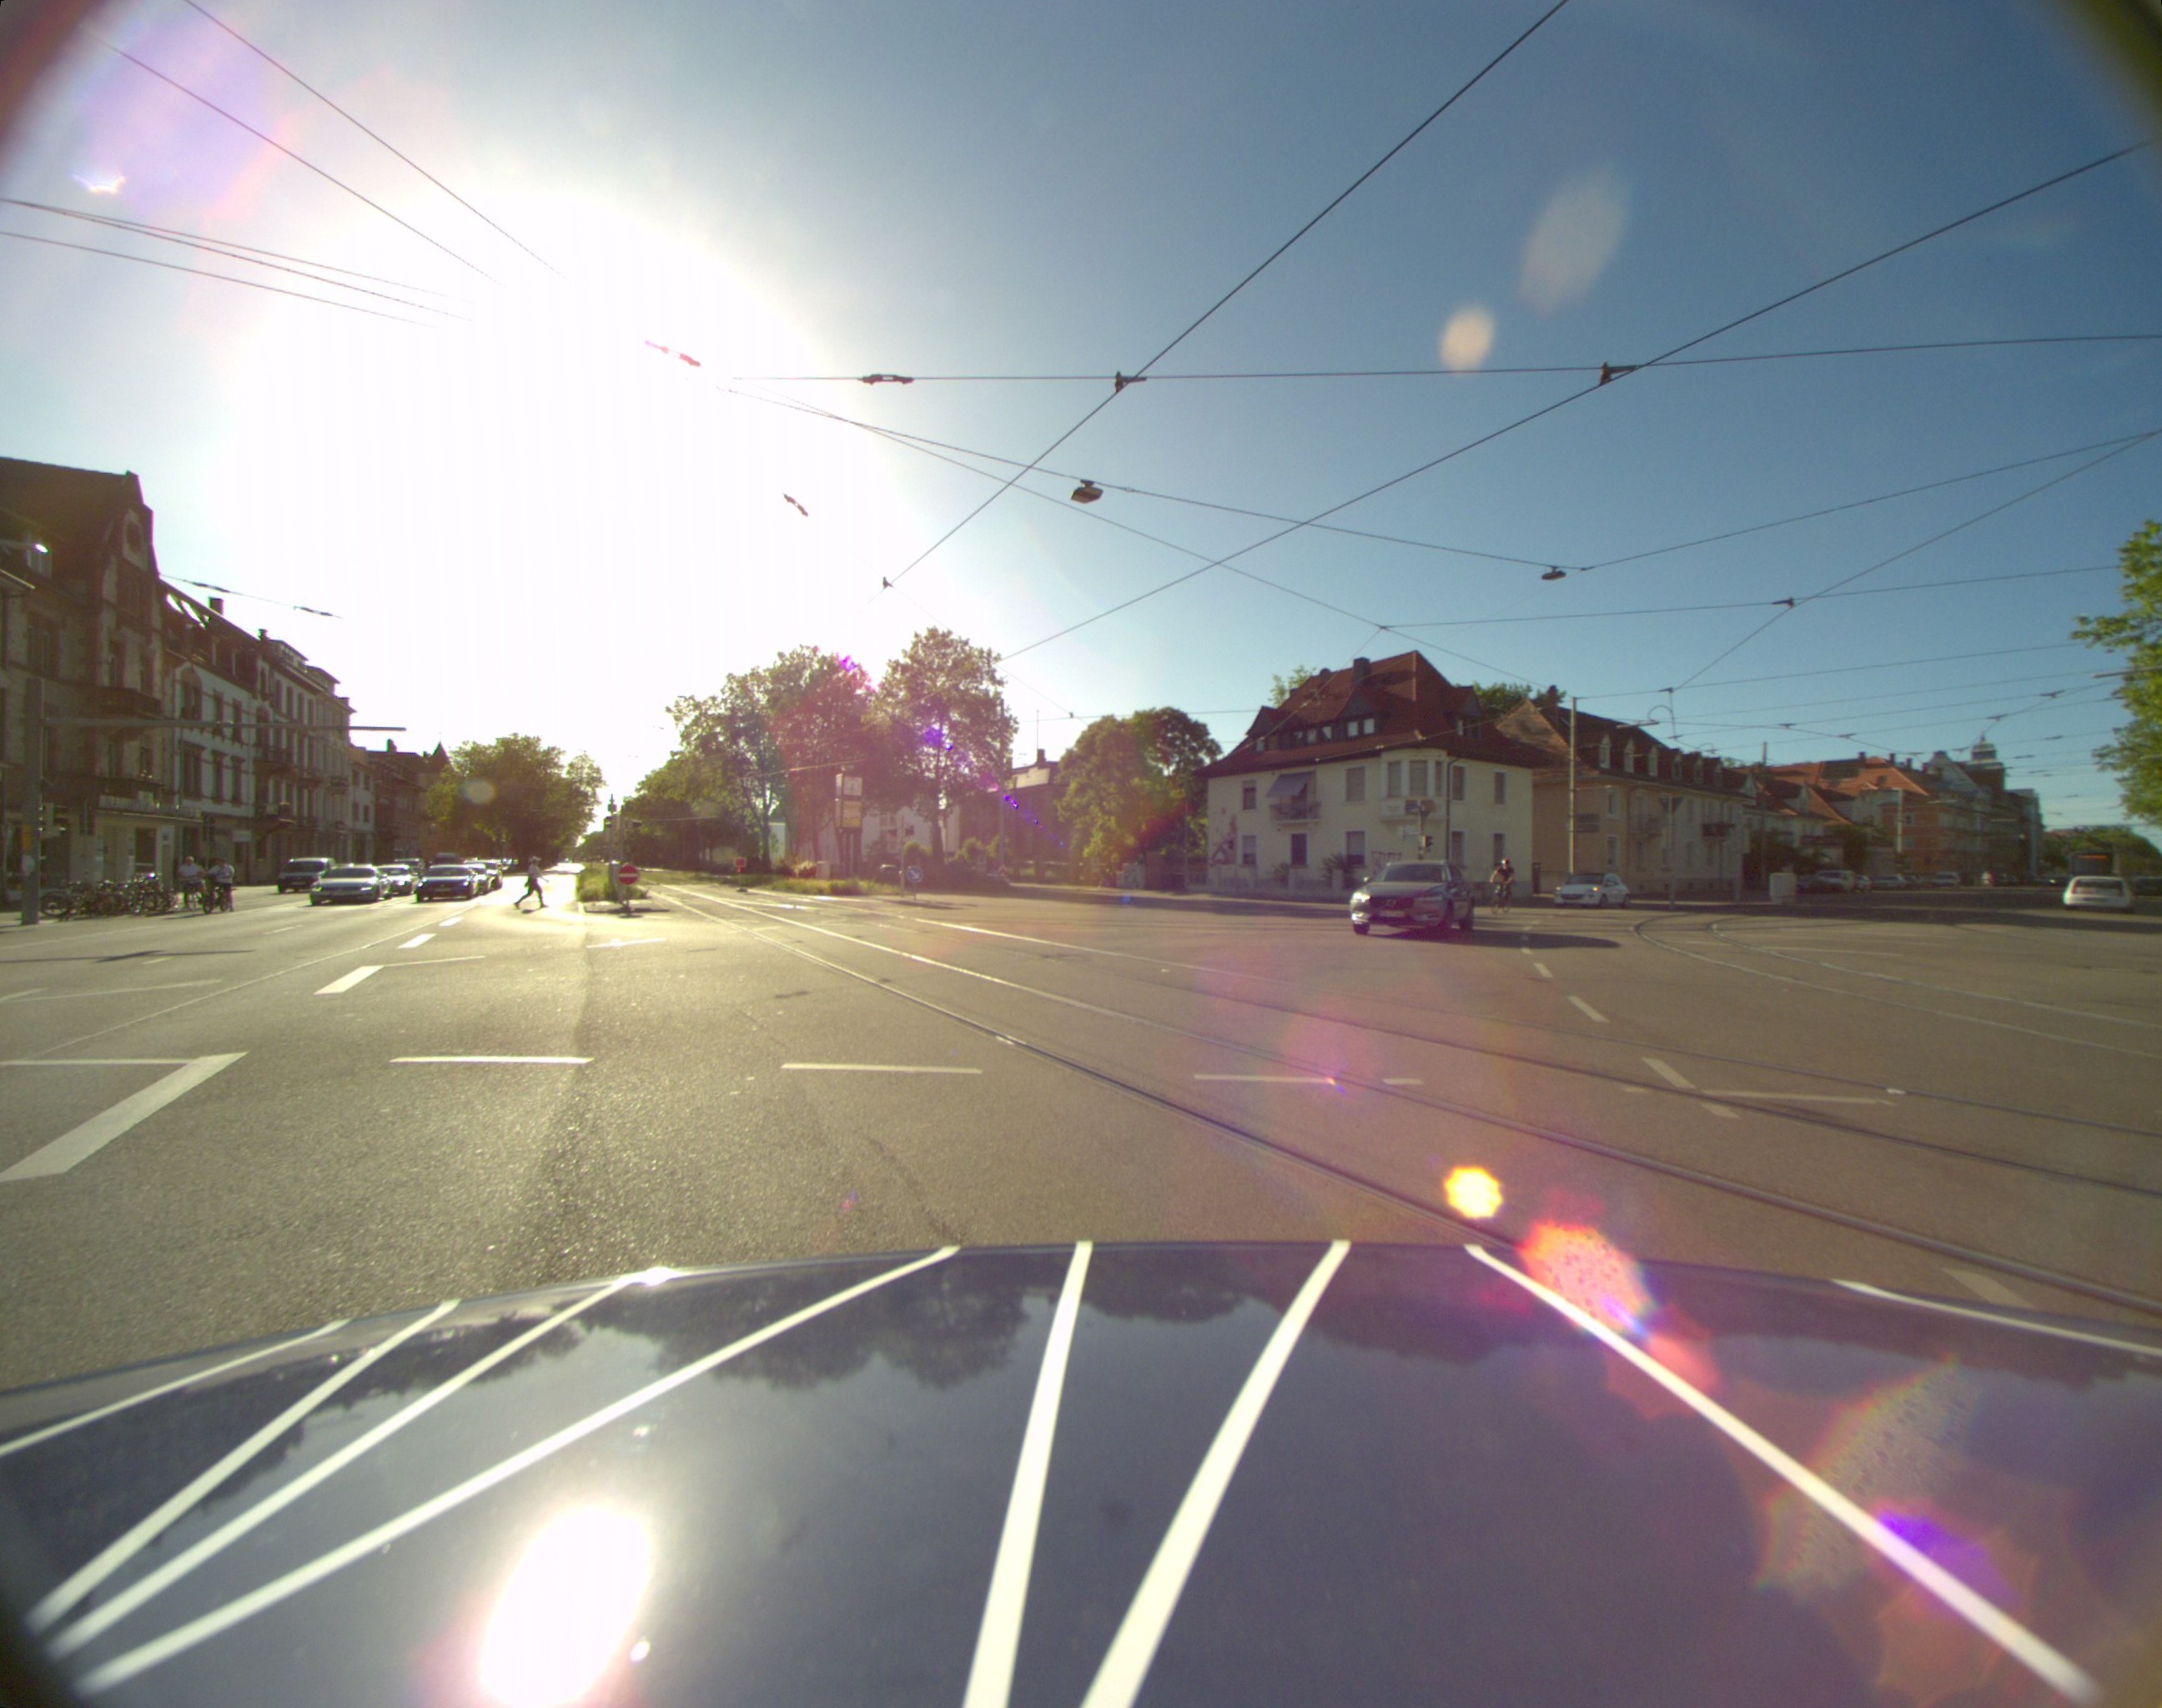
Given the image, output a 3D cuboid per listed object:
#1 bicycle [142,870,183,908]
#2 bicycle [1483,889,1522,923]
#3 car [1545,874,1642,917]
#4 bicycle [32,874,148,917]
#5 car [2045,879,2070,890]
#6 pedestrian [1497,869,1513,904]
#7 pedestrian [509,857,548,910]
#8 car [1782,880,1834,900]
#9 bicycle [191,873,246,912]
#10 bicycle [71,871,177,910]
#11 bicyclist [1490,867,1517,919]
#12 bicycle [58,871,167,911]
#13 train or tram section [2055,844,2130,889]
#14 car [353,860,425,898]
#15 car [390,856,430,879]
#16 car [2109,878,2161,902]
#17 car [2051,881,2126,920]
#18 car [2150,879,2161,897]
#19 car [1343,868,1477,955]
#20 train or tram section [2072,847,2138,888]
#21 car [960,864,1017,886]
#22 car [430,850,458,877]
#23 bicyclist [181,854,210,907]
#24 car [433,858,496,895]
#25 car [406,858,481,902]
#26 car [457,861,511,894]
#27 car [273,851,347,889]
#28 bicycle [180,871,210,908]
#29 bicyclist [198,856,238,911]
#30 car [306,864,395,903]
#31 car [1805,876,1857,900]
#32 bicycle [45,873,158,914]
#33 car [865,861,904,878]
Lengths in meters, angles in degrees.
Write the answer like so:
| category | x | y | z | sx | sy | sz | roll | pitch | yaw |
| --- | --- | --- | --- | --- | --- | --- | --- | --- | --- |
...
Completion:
| category | x | y | z | sx | sy | sz | roll | pitch | yaw |
| --- | --- | --- | --- | --- | --- | --- | --- | --- | --- |
| bicycle | -30.655 | 1.137 | 25.373 | 0.681 | 1.184 | 1.961 | 1 | 0 | -45 |
| bicycle | 14.170 | 1.718 | 25.494 | 1.994 | 1.050 | 0.599 | 1 | 0 | -45 |
| car | 21.273 | 1.657 | 31.485 | 4.512 | 1.621 | 1.914 | 1 | 0 | -37 |
| bicycle | -29.179 | 1.203 | 22.421 | 1.971 | 1.184 | 0.677 | 1 | 0 | -32 |
| car | 130.634 | 4.080 | 101.668 | 4.008 | 1.477 | 1.878 | 1 | 0 | -35 |
| pedestrian | 21.783 | 1.658 | 39.033 | 0.601 | 1.750 | 0.488 | 1 | 0 | 39 |
| pedestrian | -17.904 | 0.948 | 24.626 | 0.941 | 1.659 | 0.716 | 1 | 0 | -40 |
| car | 56.839 | 2.767 | 59.424 | 4.007 | 1.477 | 1.879 | 1 | 0 | -30 |
| bicycle | -27.993 | 1.222 | 24.690 | 0.602 | 1.183 | 1.962 | 1 | 0 | -31 |
| bicycle | -30.307 | 1.147 | 24.111 | 1.971 | 1.184 | 0.677 | 1 | 0 | -32 |
| bicyclist | 14.163 | 1.298 | 25.488 | 0.664 | 1.709 | 0.599 | 1 | 0 | -45 |
| bicycle | -29.943 | 1.135 | 23.541 | 1.971 | 1.184 | 0.677 | 1 | 0 | -32 |
| train or tram section | 85.995 | 1.082 | 64.509 | 12.137 | 3.591 | 3.057 | 1 | 0 | -33 |
| car | -32.551 | 1.149 | 35.866 | 1.959 | 1.658 | 3.989 | 1 | 0 | -34 |
| car | -58.514 | 1.146 | 66.321 | 1.959 | 1.851 | 4.790 | 1 | 0 | -34 |
| car | 69.384 | 2.344 | 49.910 | 4.007 | 1.477 | 1.879 | 1 | 0 | -32 |
| car | 42.201 | 1.911 | 31.894 | 3.591 | 1.488 | 1.718 | 1 | 0 | -39 |
| car | 90.465 | 2.851 | 63.010 | 4.007 | 1.477 | 1.879 | 1 | 0 | -32 |
| car | 7.490 | 1.157 | 17.027 | 1.913 | 1.621 | 4.512 | 1 | 0 | 34 |
| train or tram section | 96.245 | 1.243 | 71.327 | 12.526 | 3.591 | 3.057 | 1 | 0 | -34 |
| car | -6.438 | 1.424 | 52.531 | 1.923 | 1.445 | 4.490 | 1 | 0 | -36 |
| car | -71.618 | 1.010 | 85.487 | 2.207 | 2.891 | 5.942 | 1 | 0 | -39 |
| bicyclist | -29.890 | 0.881 | 25.655 | 0.903 | 1.753 | 0.603 | 1 | 0 | 42 |
| car | -29.217 | 1.022 | 36.138 | 1.959 | 1.658 | 3.989 | 1 | 0 | -34 |
| car | -26.295 | 1.020 | 31.478 | 1.959 | 1.658 | 3.989 | 1 | 0 | -34 |
| car | -32.282 | 1.242 | 41.177 | 1.959 | 1.658 | 4.475 | 1 | 0 | -34 |
| car | -41.938 | 0.856 | 41.440 | 1.959 | 1.953 | 4.407 | 1 | 0 | -34 |
| bicycle | -29.931 | 1.174 | 25.679 | 1.961 | 1.184 | 0.603 | 1 | 0 | 43 |
| bicyclist | -27.957 | 0.938 | 24.634 | 0.602 | 1.753 | 0.873 | 1 | 0 | -31 |
| car | -28.708 | 1.114 | 29.998 | 1.849 | 1.404 | 3.989 | 1 | 0 | -34 |
| car | 61.811 | 2.758 | 62.557 | 5.323 | 1.834 | 1.929 | 1 | 0 | -33 |
| bicycle | -29.586 | 1.183 | 22.995 | 1.971 | 1.184 | 0.677 | 1 | 0 | -32 |
| car | -18.067 | 1.372 | 69.787 | 1.923 | 1.445 | 4.490 | 1 | 0 | -36 |
